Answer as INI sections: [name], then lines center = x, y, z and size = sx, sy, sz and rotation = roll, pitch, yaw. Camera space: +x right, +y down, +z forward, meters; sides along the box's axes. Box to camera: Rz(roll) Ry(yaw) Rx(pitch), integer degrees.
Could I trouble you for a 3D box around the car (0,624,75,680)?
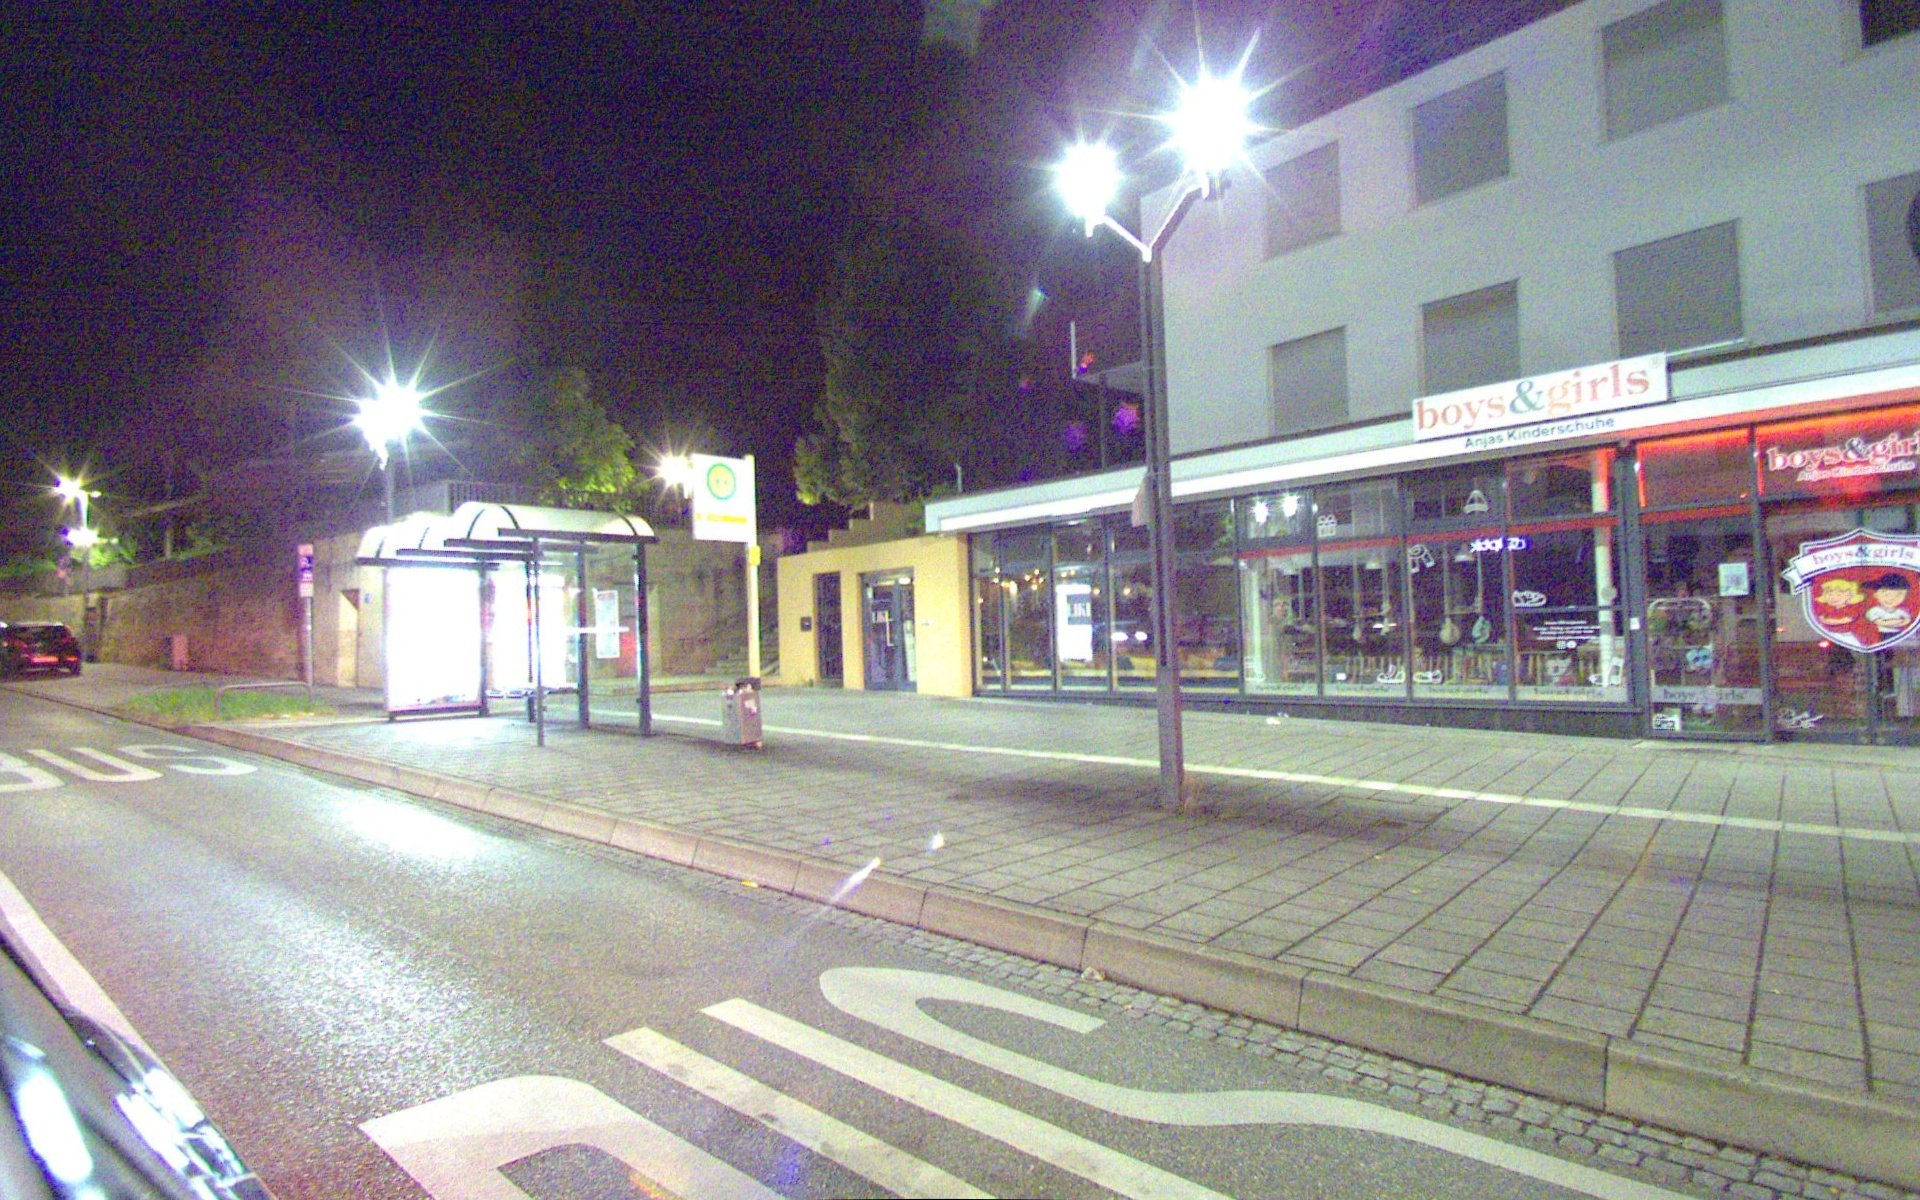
[car]
center = -26.639, 1.425, 28.660
size = 4.123, 1.447, 1.675
rotation = -1, 0, 39
